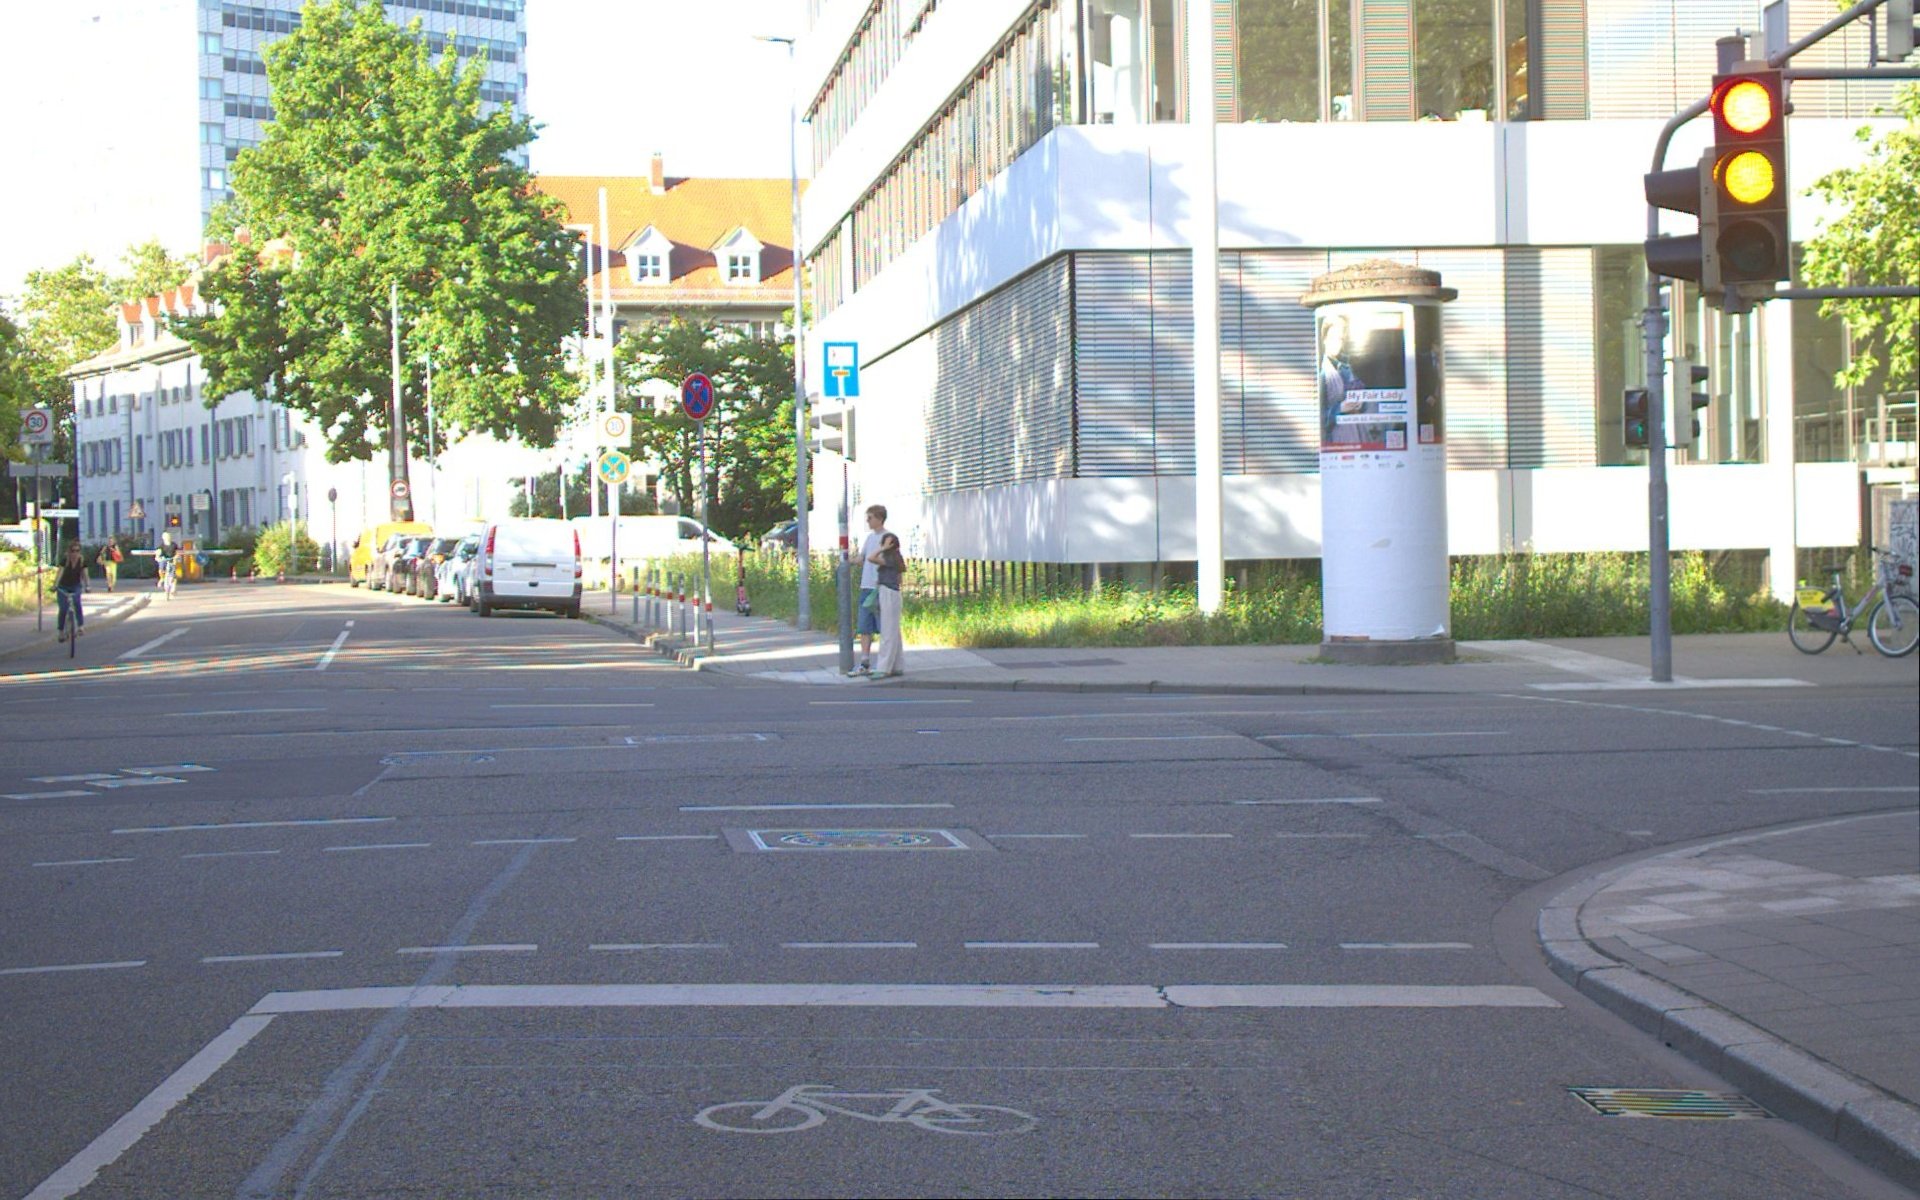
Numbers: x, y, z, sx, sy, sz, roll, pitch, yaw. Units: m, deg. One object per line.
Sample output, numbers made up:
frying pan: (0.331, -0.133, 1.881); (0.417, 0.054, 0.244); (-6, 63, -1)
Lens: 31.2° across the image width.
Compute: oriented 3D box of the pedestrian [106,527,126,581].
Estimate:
pedestrian: (-25.055, -1.368, 102.028); (0.433, 1.602, 0.493); (-2, 1, -26)

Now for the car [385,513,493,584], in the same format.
car: (-12.988, -1.304, 85.530); (1.888, 1.650, 4.417); (-1, 2, -19)

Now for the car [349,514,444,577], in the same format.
car: (-15.681, -1.542, 95.465); (1.888, 1.650, 4.417); (-1, 2, -19)

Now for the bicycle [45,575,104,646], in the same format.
bicycle: (-12.708, 0.137, 49.369); (0.615, 0.966, 1.842); (-2, 1, -9)

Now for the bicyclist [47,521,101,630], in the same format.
bicyclist: (-12.719, -0.357, 49.373); (0.615, 1.527, 0.903); (-2, 1, -9)

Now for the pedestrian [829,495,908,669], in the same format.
pedestrian: (-1.000, -0.203, 37.773); (0.560, 1.844, 0.677); (-3, 2, 16)

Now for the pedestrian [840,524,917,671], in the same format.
pedestrian: (-0.884, -0.032, 37.170); (0.559, 1.535, 0.677); (-5, 2, -18)

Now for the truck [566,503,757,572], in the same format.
truck: (-8.947, -1.883, 103.019); (5.336, 2.007, 2.001); (-1, 1, -19)

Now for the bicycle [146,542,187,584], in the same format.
bicycle: (-20.089, -0.930, 87.051); (0.865, 1.006, 2.415); (-4, 1, -11)

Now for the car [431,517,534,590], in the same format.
car: (-10.906, -1.089, 78.282); (1.888, 1.550, 4.417); (-1, 2, -13)

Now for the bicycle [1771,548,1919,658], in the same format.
bicycle: (9.315, 0.022, 36.001); (0.507, 1.045, 1.687); (-4, 5, -35)

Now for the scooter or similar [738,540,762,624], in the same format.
scooter or similar: (-3.582, -0.310, 58.537); (0.330, 1.419, 1.335); (1, 0, -6)

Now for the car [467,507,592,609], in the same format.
car: (-8.136, -0.823, 64.699); (2.084, 1.789, 4.417); (-1, 2, -10)

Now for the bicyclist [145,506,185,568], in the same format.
bicyclist: (-20.123, -1.600, 87.054); (0.865, 1.510, 1.019); (-4, 1, -11)

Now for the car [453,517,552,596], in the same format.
car: (-9.734, -0.946, 72.911); (1.888, 1.550, 4.417); (-1, 2, -10)

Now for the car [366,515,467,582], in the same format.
car: (-14.325, -1.378, 90.473); (1.888, 1.650, 4.417); (-1, 2, -19)

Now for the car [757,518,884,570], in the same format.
car: (-4.232, -1.700, 104.205); (3.554, 1.541, 1.559); (-1, 1, -19)
